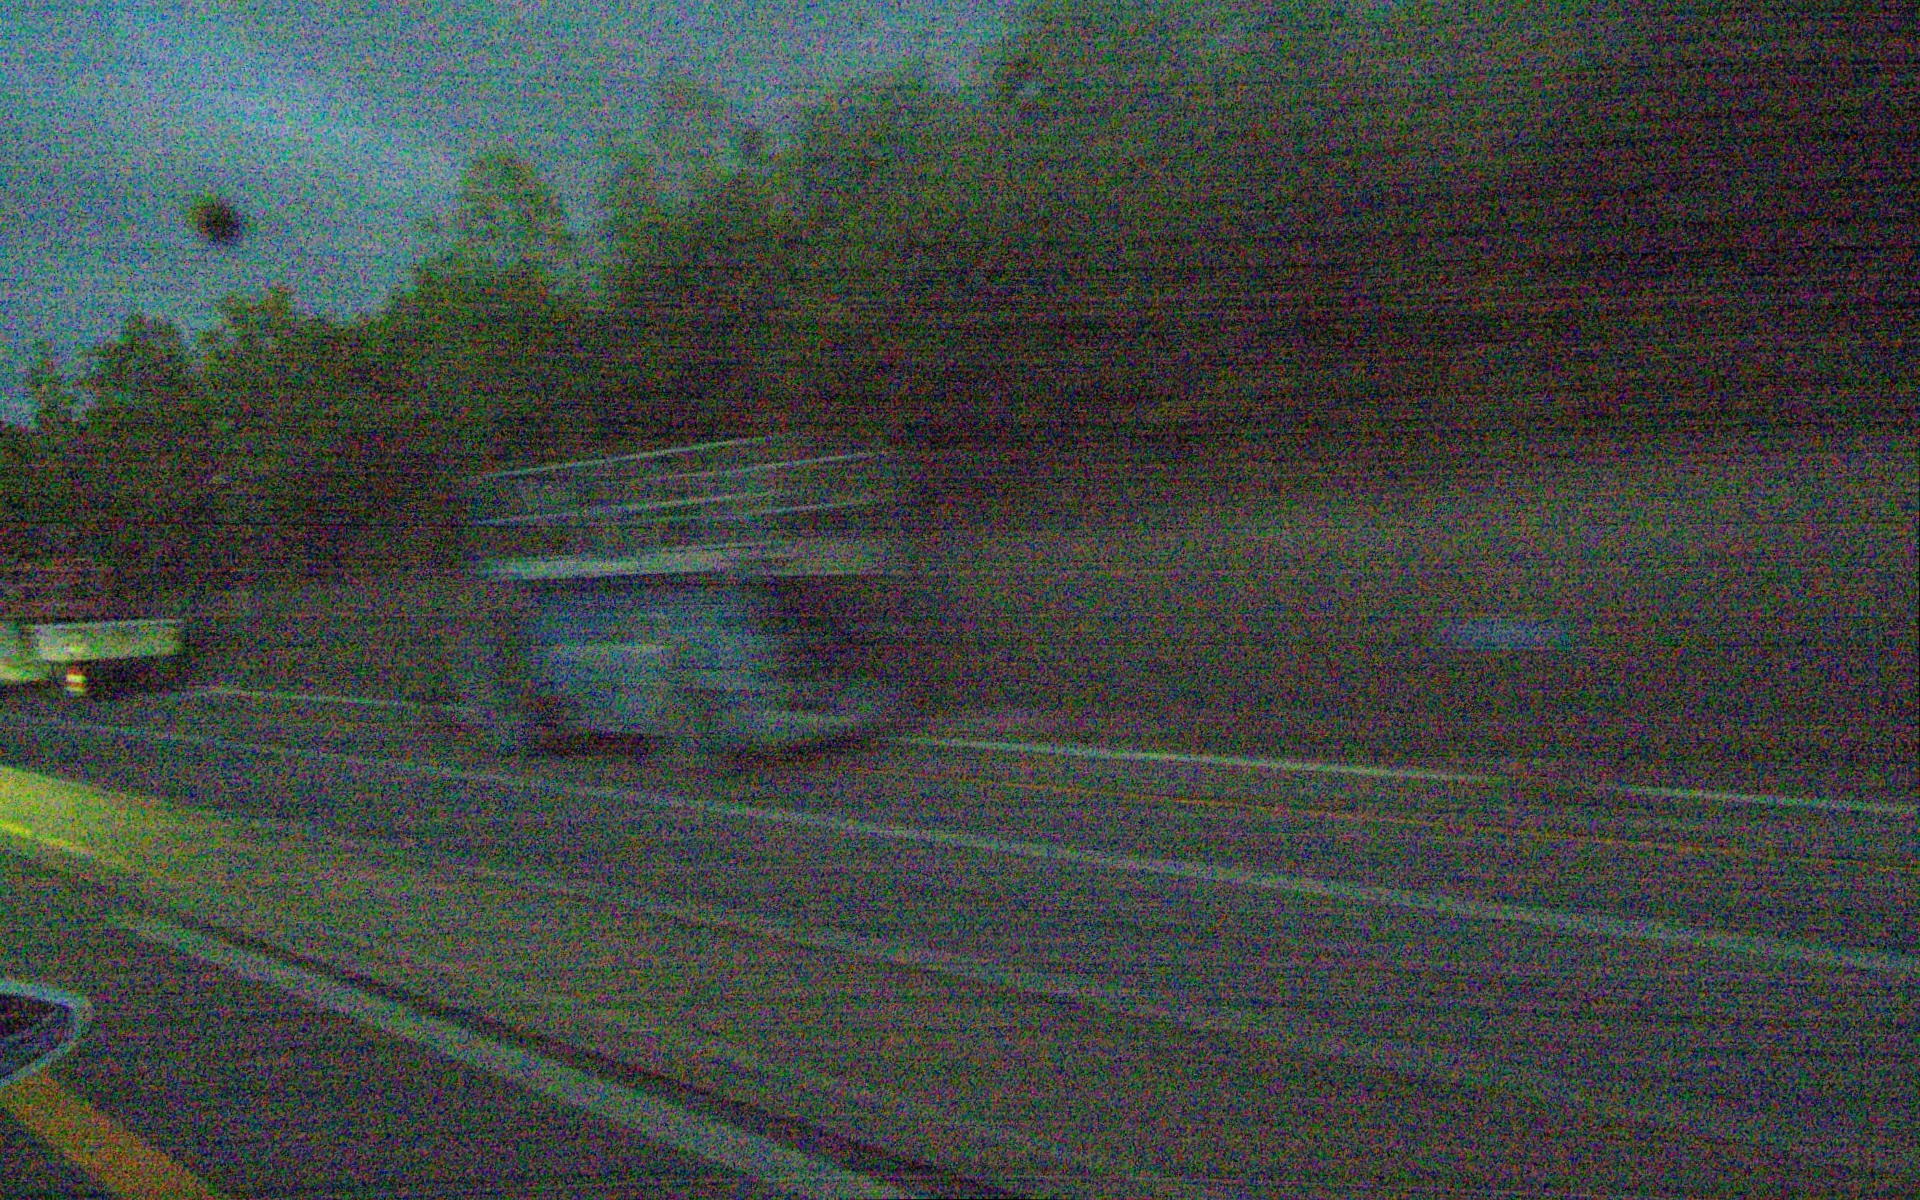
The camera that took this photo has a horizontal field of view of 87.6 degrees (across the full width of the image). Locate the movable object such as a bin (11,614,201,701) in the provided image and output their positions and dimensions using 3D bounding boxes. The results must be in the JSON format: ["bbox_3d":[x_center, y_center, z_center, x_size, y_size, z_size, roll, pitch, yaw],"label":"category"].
[{"bbox_3d":[-18.158,1.180,21.263,4.028,1.622,1.988,-2,0,33],"label":"movable object such as a bin"}]

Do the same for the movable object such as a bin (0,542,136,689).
[{"bbox_3d":[-22.349,0.392,23.793,5.723,3.149,2.615,-1,0,32],"label":"movable object such as a bin"}]

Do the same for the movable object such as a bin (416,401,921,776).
[{"bbox_3d":[-3.457,-0.052,11.551,5.499,3.362,2.558,-1,0,32],"label":"movable object such as a bin"}]
